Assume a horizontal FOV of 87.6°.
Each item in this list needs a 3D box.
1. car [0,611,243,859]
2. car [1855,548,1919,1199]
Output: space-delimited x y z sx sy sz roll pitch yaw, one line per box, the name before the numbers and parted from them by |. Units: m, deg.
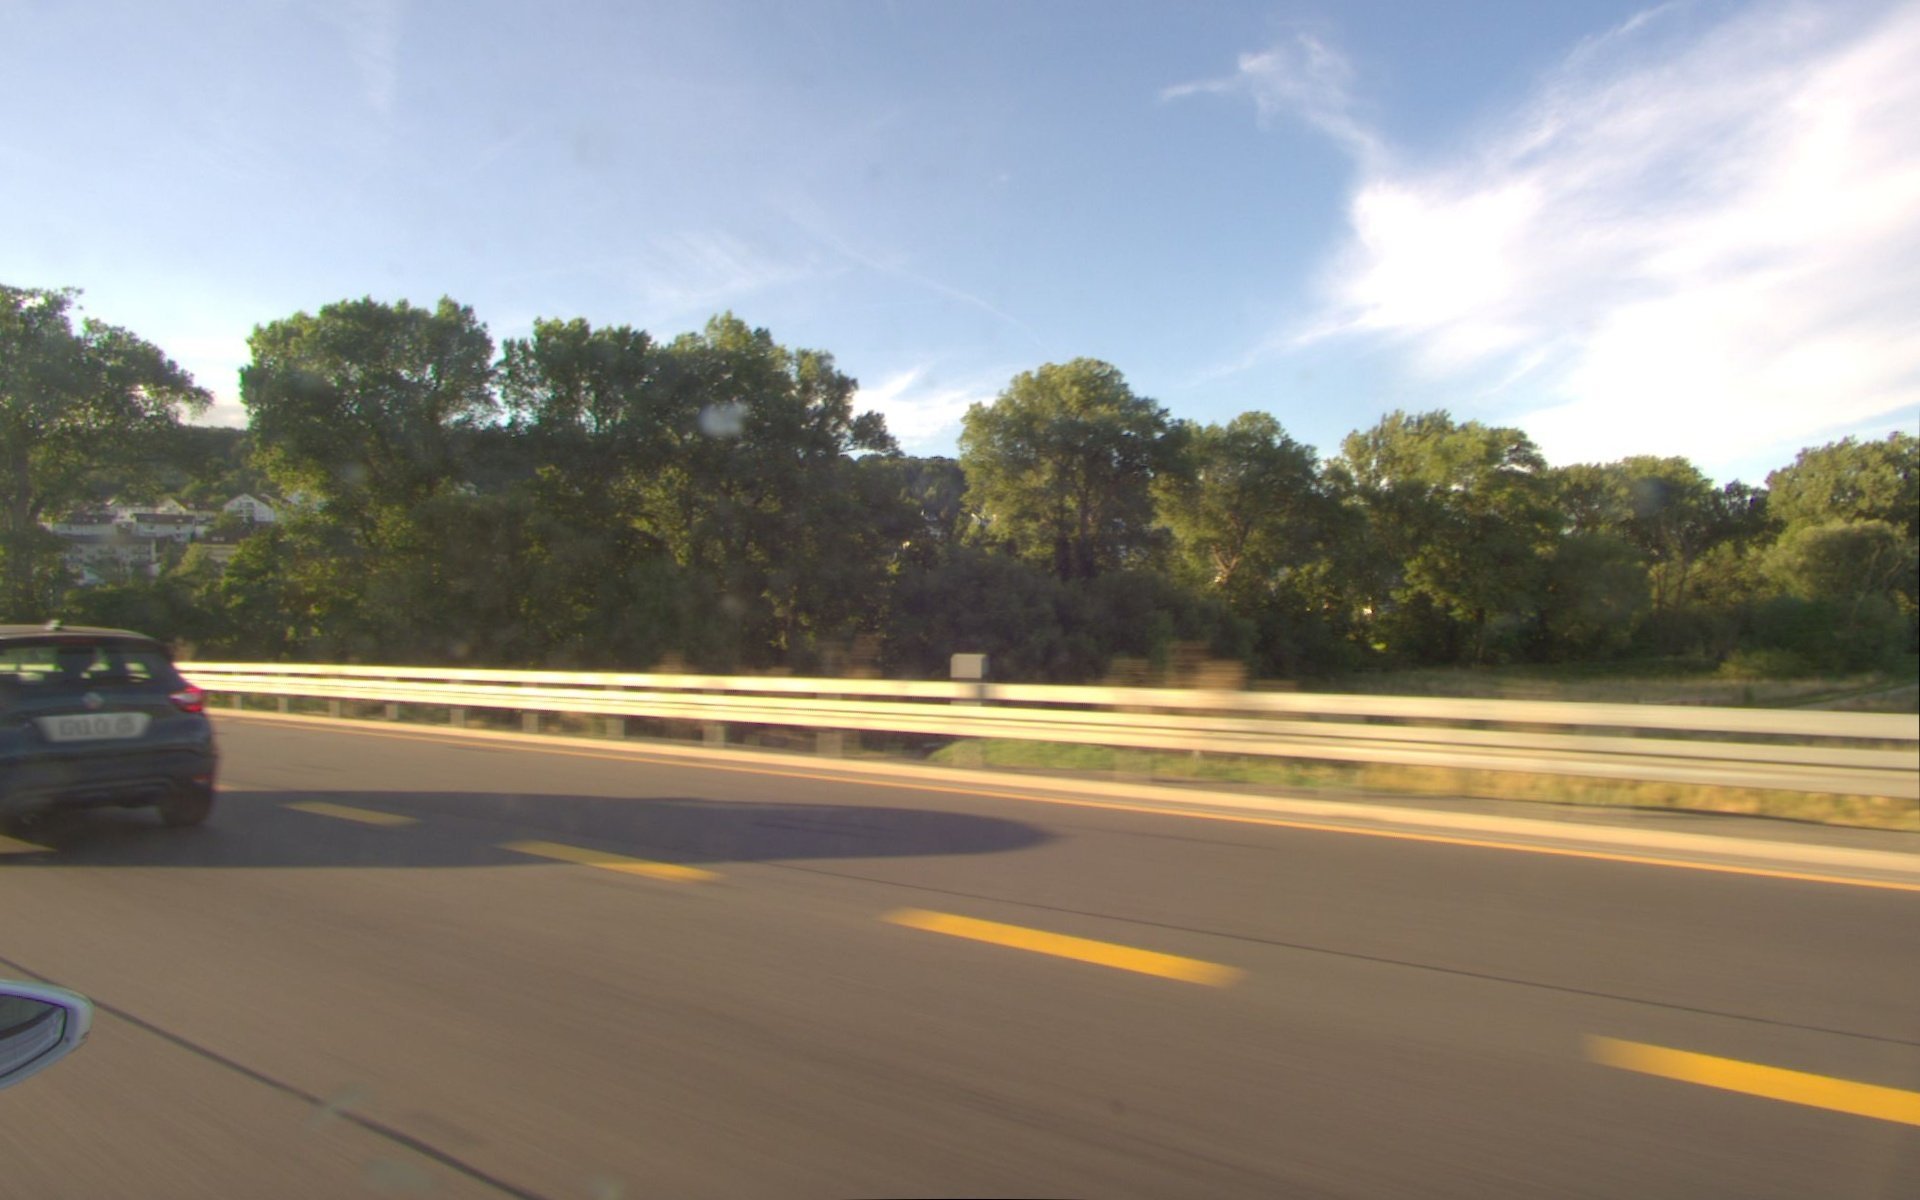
car | -7.671 0.920 8.015 4.076 1.606 1.771 -1 -2 33
car | 3.413 0.646 0.236 4.460 1.635 1.811 -2 -3 31
